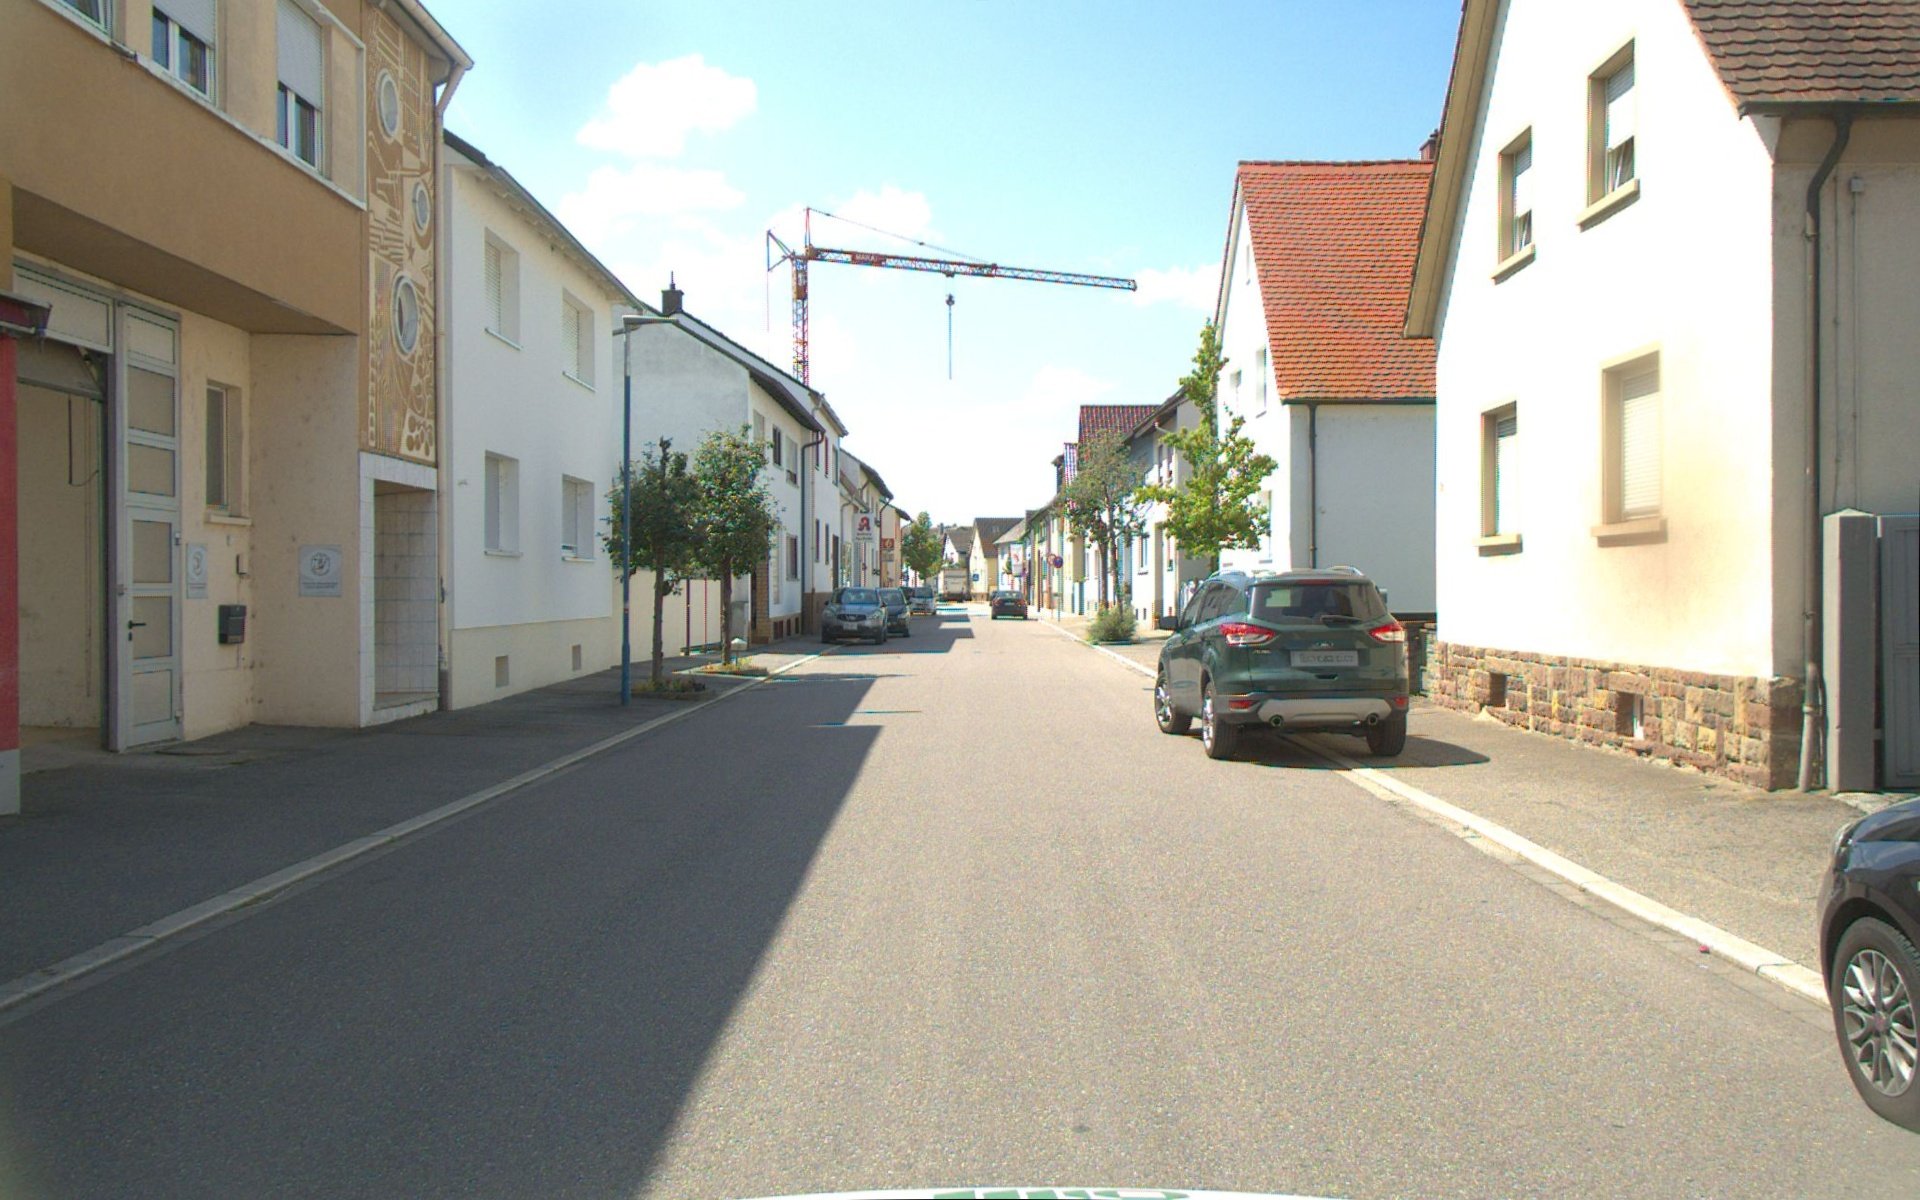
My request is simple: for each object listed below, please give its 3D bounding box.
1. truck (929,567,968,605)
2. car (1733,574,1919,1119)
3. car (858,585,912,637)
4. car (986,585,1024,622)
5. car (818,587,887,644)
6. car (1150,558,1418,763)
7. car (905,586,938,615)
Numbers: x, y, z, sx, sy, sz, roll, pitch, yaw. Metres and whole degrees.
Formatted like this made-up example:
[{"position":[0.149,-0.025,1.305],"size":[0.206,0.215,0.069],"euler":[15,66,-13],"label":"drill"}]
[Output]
[{"position":[-1.334,-1.521,182.255],"size":[3.312,3.933,13.914],"euler":[-1,0,-4],"label":"truck"},{"position":[3.476,0.679,3.692],"size":[1.584,1.522,3.972],"euler":[-3,0,0],"label":"car"},{"position":[-2.462,0.328,54.842],"size":[1.619,1.637,4.061],"euler":[-1,0,0],"label":"car"},{"position":[2.283,0.174,83.999],"size":[1.746,1.784,3.999],"euler":[-1,0,-1],"label":"car"},{"position":[-3.092,0.410,48.166],"size":[1.722,1.551,4.289],"euler":[-1,0,0],"label":"car"},{"position":[3.030,0.504,16.346],"size":[1.694,1.747,4.274],"euler":[0,0,-2],"label":"car"},{"position":[-2.190,0.016,94.259],"size":[1.687,1.583,4.172],"euler":[1,0,1],"label":"car"}]
